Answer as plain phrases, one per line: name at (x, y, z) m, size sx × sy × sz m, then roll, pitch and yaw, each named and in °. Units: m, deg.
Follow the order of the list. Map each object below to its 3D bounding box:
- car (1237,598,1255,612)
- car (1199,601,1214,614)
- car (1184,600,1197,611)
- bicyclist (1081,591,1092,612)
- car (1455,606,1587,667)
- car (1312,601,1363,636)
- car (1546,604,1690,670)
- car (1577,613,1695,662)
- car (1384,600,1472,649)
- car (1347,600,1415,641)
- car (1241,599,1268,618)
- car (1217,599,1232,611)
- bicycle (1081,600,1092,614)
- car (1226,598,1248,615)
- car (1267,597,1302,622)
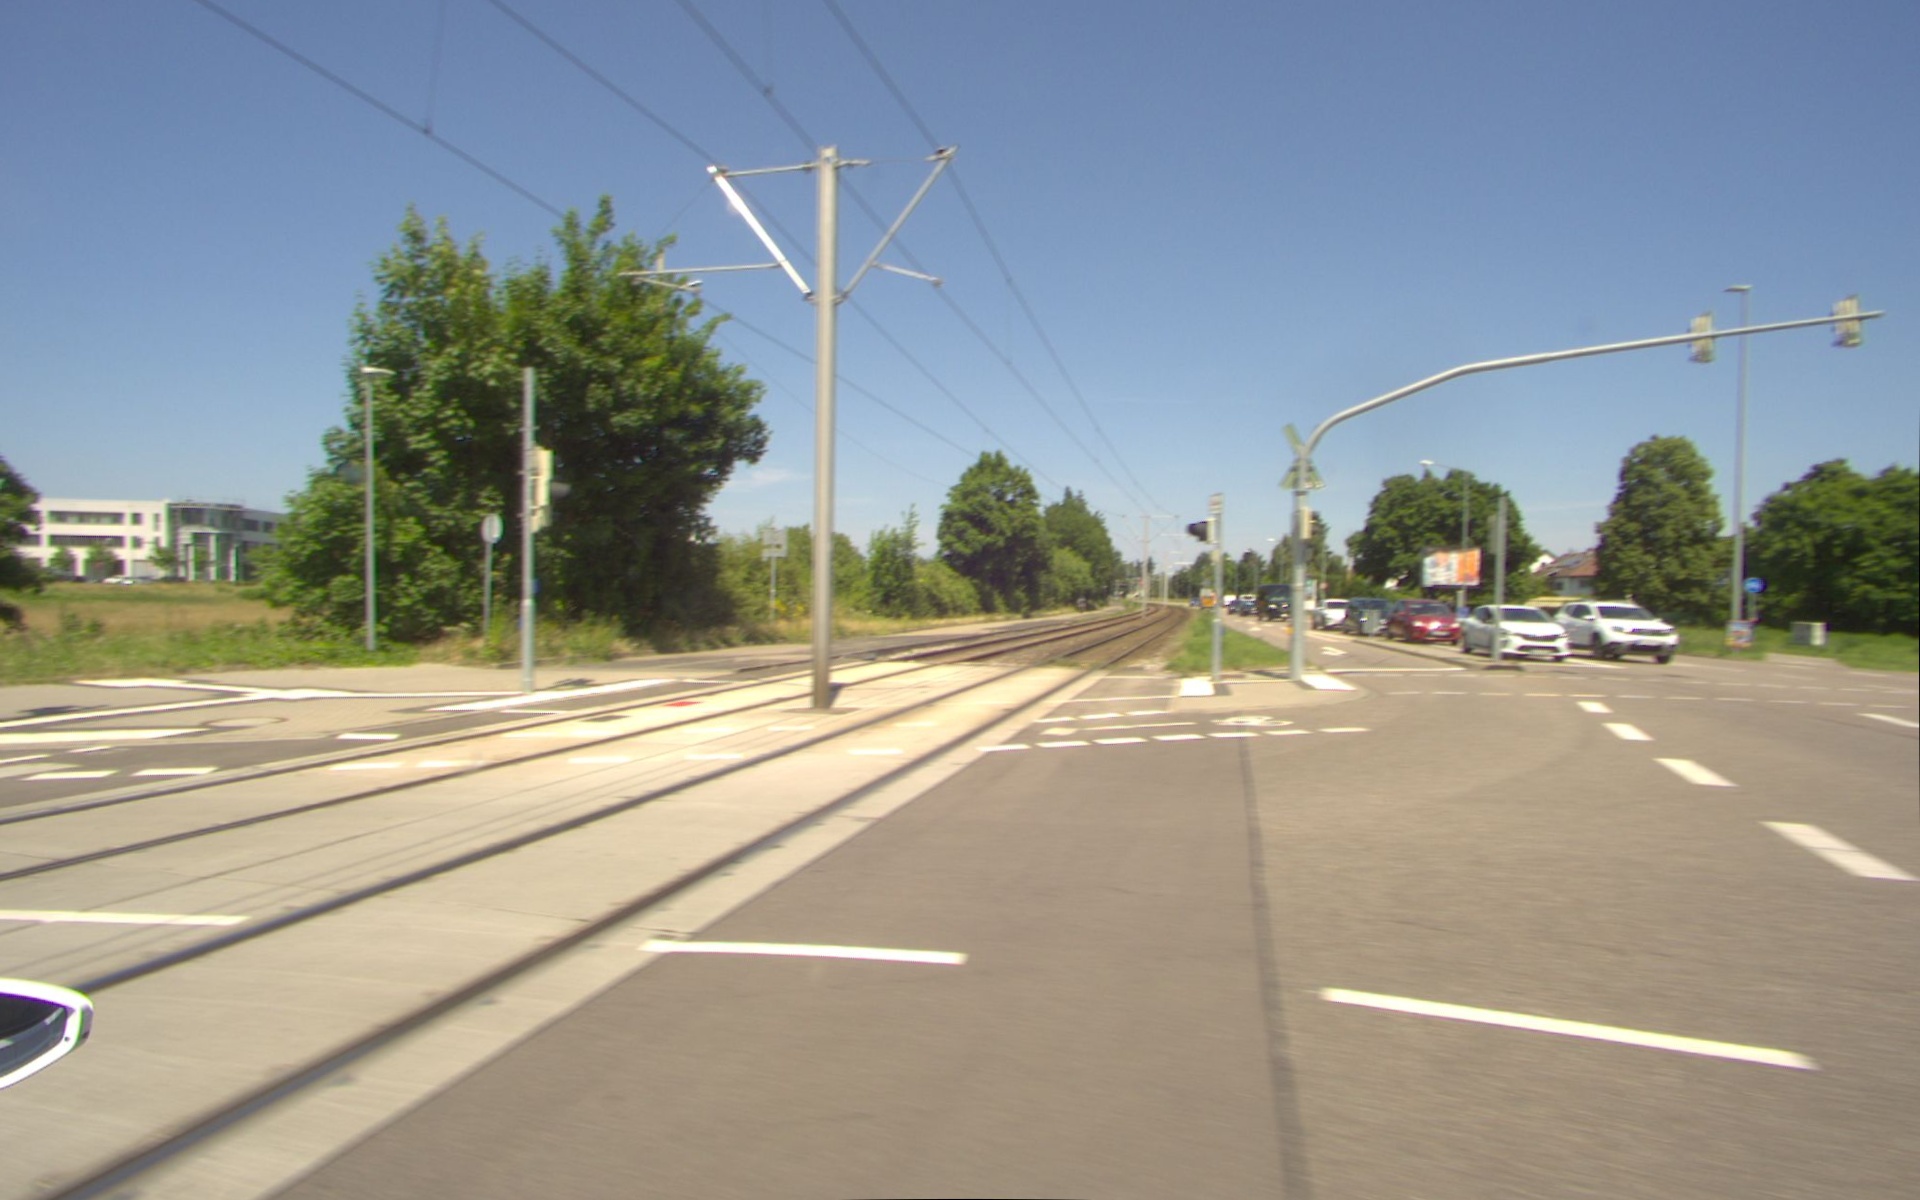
car at (37.953, 0.676, 133.015) m, size 1.739 × 1.779 × 3.998 m, roll 4°, pitch 1°, yaw 10°
car at (35.276, 1.044, 143.217) m, size 1.840 × 1.708 × 4.408 m, roll 3°, pitch 1°, yaw 12°
car at (41.220, 0.968, 179.148) m, size 1.962 × 1.813 × 3.998 m, roll 3°, pitch 0°, yaw 10°
bicyclist at (12.725, 0.178, 100.912) m, size 1.054 × 2.040 × 1.185 m, roll -1°, pitch 0°, yaw 7°
car at (15.092, 0.928, 27.208) m, size 1.840 × 1.407 × 4.408 m, roll 3°, pitch 1°, yaw 12°
car at (18.960, 0.887, 50.434) m, size 1.698 × 1.597 × 4.408 m, roll 3°, pitch 1°, yaw 12°
car at (18.433, 0.970, 28.321) m, size 1.840 × 1.597 × 4.408 m, roll 3°, pitch 1°, yaw 12°
car at (22.719, 1.210, 33.859) m, size 1.733 × 1.366 × 4.308 m, roll 3°, pitch 1°, yaw 12°
car at (16.848, 0.839, 36.286) m, size 1.840 × 1.597 × 4.408 m, roll 3°, pitch 1°, yaw 12°
car at (17.982, 0.835, 42.966) m, size 1.840 × 1.597 × 4.408 m, roll 3°, pitch 1°, yaw 12°
car at (25.843, 0.713, 87.952) m, size 1.840 × 1.597 × 4.408 m, roll 3°, pitch 1°, yaw 12°
car at (41.649, 0.743, 157.666) m, size 1.739 × 1.779 × 3.998 m, roll 4°, pitch 1°, yaw 10°
bicycle at (12.749, 0.721, 101.121) m, size 1.043 × 1.363 × 2.695 m, roll -2°, pitch 0°, yaw 7°
car at (27.901, 0.684, 101.047) m, size 1.840 × 1.597 × 4.408 m, roll 3°, pitch 1°, yaw 12°
car at (22.552, 0.646, 69.734) m, size 1.840 × 1.597 × 4.408 m, roll 3°, pitch 1°, yaw 12°
